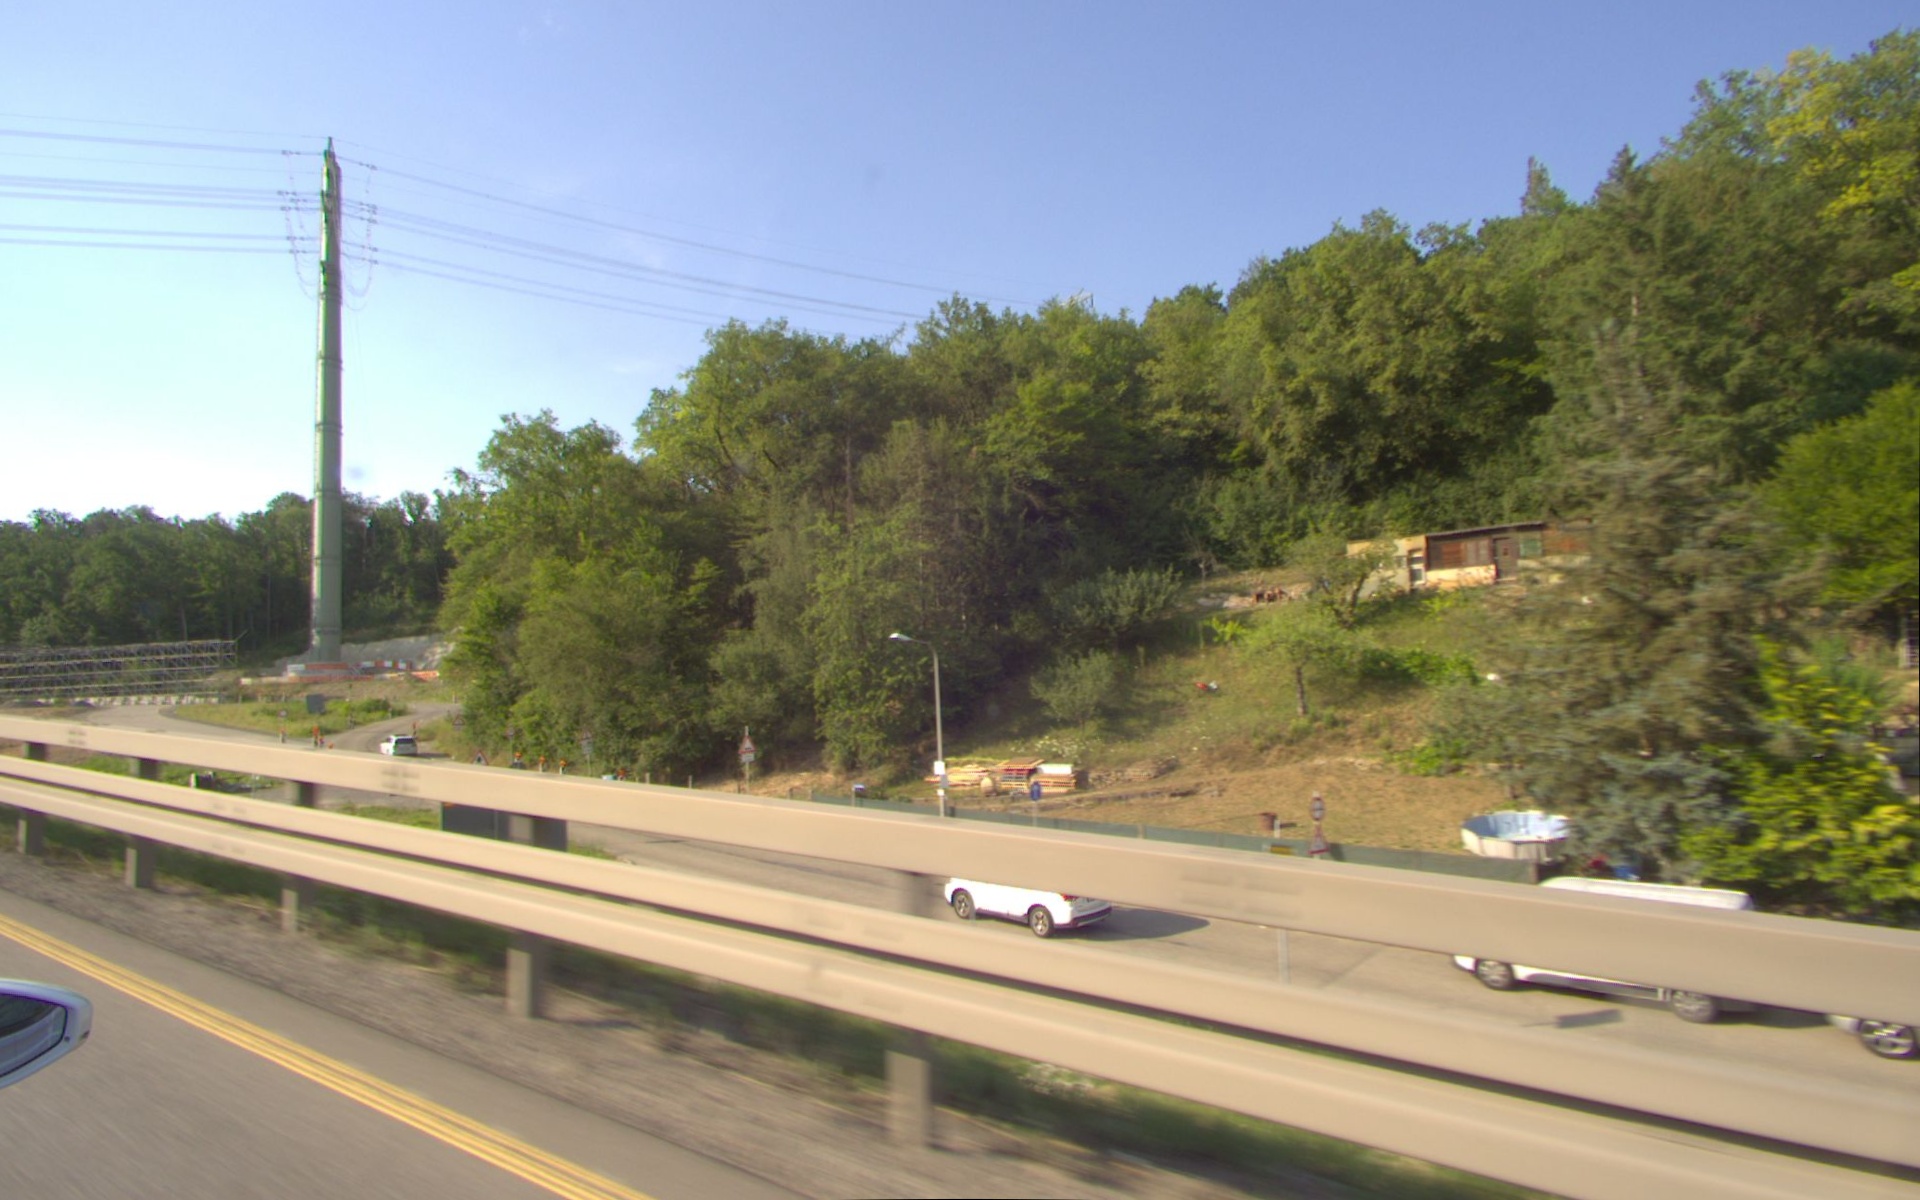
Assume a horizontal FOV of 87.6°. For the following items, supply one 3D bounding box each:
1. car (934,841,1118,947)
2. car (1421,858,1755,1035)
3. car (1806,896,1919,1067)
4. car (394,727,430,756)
[{"bbox_3d":[1.553,7.149,24.723,4.423,1.682,1.660,-5,-4,41],"label":"car"},{"bbox_3d":[11.560,6.262,18.689,4.997,2.010,1.854,-5,-4,41],"label":"car"},{"bbox_3d":[15.723,5.868,14.756,4.815,1.940,1.985,-5,-4,43],"label":"car"},{"bbox_3d":[-37.465,9.626,68.512,1.504,1.479,4.259,0,-2,-20],"label":"car"}]
